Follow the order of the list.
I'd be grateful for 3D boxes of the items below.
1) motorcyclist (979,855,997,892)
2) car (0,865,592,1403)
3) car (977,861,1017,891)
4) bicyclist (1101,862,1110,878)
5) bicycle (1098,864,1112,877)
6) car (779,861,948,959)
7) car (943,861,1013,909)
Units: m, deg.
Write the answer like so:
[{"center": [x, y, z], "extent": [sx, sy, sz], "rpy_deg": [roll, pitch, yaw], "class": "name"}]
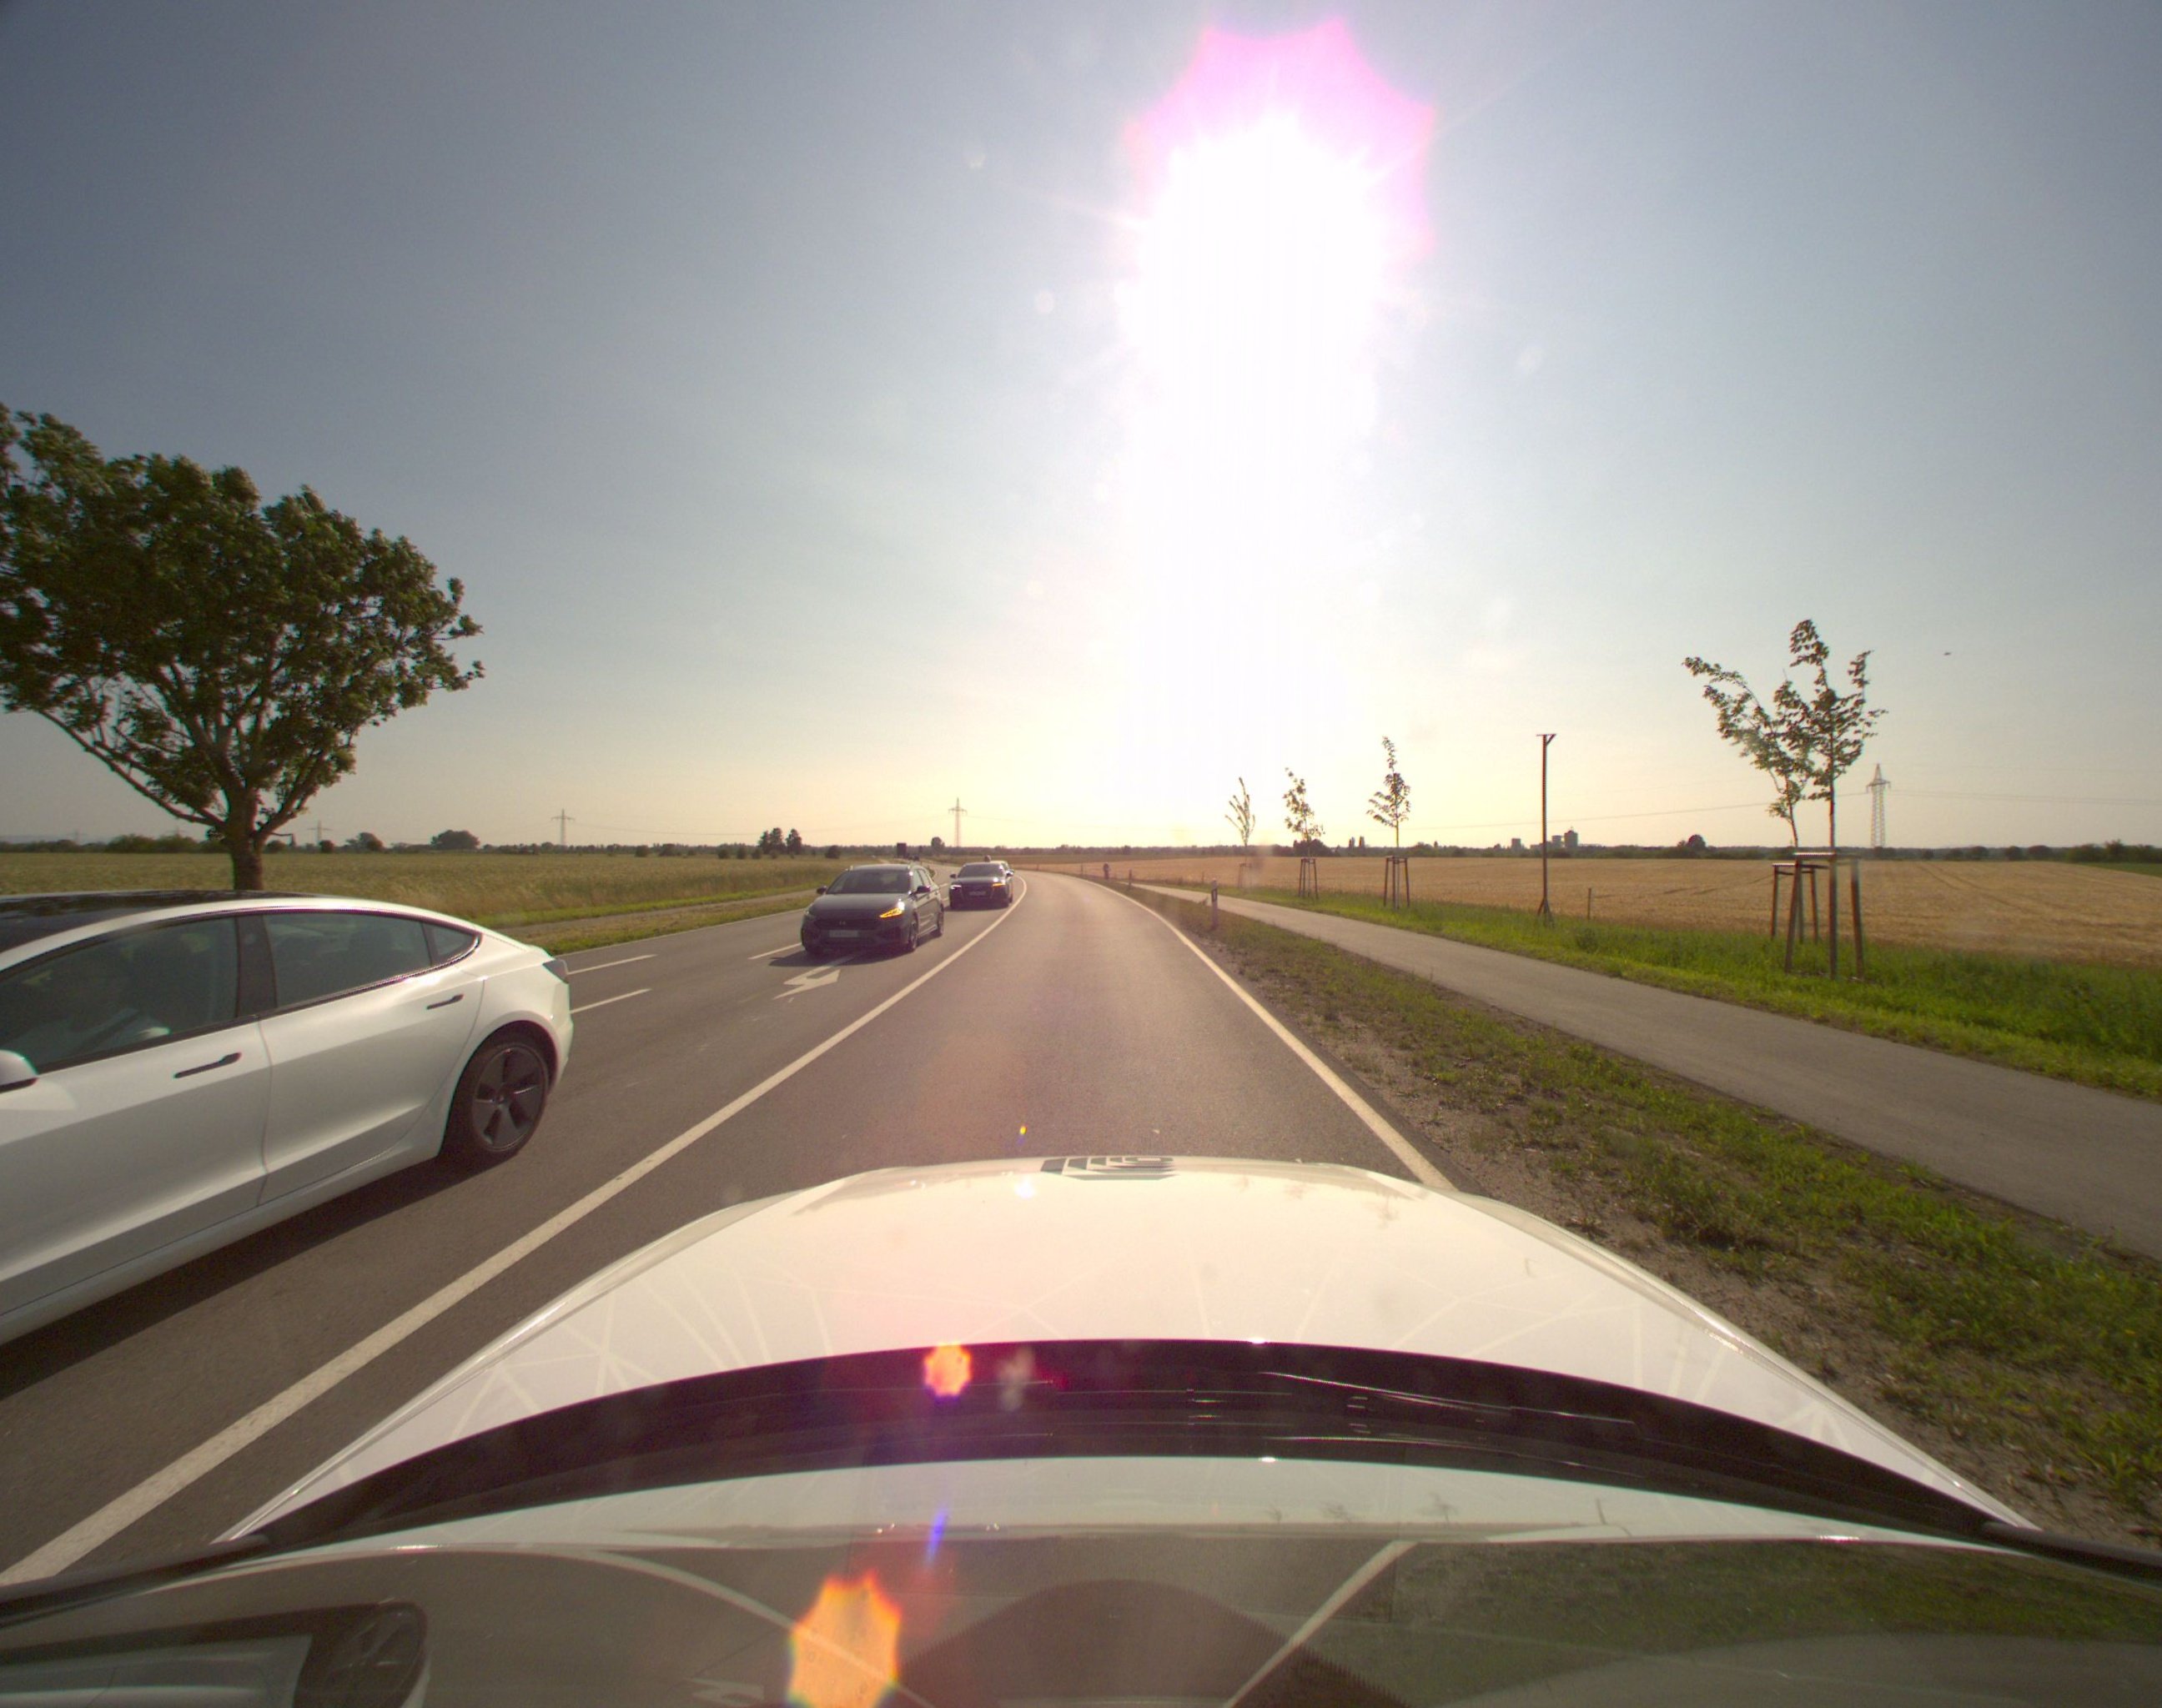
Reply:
[{"center": [-3.920, 0.812, 34.326], "extent": [0.675, 1.495, 0.847], "rpy_deg": [-1, -1, -1], "class": "motorcyclist"}, {"center": [-3.934, 0.808, 2.721], "extent": [1.883, 1.466, 4.278], "rpy_deg": [-1, 0, 2], "class": "car"}, {"center": [-4.243, 1.074, 41.470], "extent": [1.682, 1.403, 3.997], "rpy_deg": [-1, 0, -2], "class": "car"}, {"center": [2.283, 1.516, 77.074], "extent": [0.638, 1.457, 0.814], "rpy_deg": [2, -1, -11], "class": "bicyclist"}, {"center": [2.300, 1.531, 77.017], "extent": [0.845, 1.142, 2.198], "rpy_deg": [2, -1, -11], "class": "bicycle"}, {"center": [-3.711, 0.881, 14.739], "extent": [1.884, 1.461, 4.305], "rpy_deg": [-1, -1, 0], "class": "car"}, {"center": [-3.339, 0.956, 27.209], "extent": [1.885, 1.436, 4.792], "rpy_deg": [-1, -1, -2], "class": "car"}]
